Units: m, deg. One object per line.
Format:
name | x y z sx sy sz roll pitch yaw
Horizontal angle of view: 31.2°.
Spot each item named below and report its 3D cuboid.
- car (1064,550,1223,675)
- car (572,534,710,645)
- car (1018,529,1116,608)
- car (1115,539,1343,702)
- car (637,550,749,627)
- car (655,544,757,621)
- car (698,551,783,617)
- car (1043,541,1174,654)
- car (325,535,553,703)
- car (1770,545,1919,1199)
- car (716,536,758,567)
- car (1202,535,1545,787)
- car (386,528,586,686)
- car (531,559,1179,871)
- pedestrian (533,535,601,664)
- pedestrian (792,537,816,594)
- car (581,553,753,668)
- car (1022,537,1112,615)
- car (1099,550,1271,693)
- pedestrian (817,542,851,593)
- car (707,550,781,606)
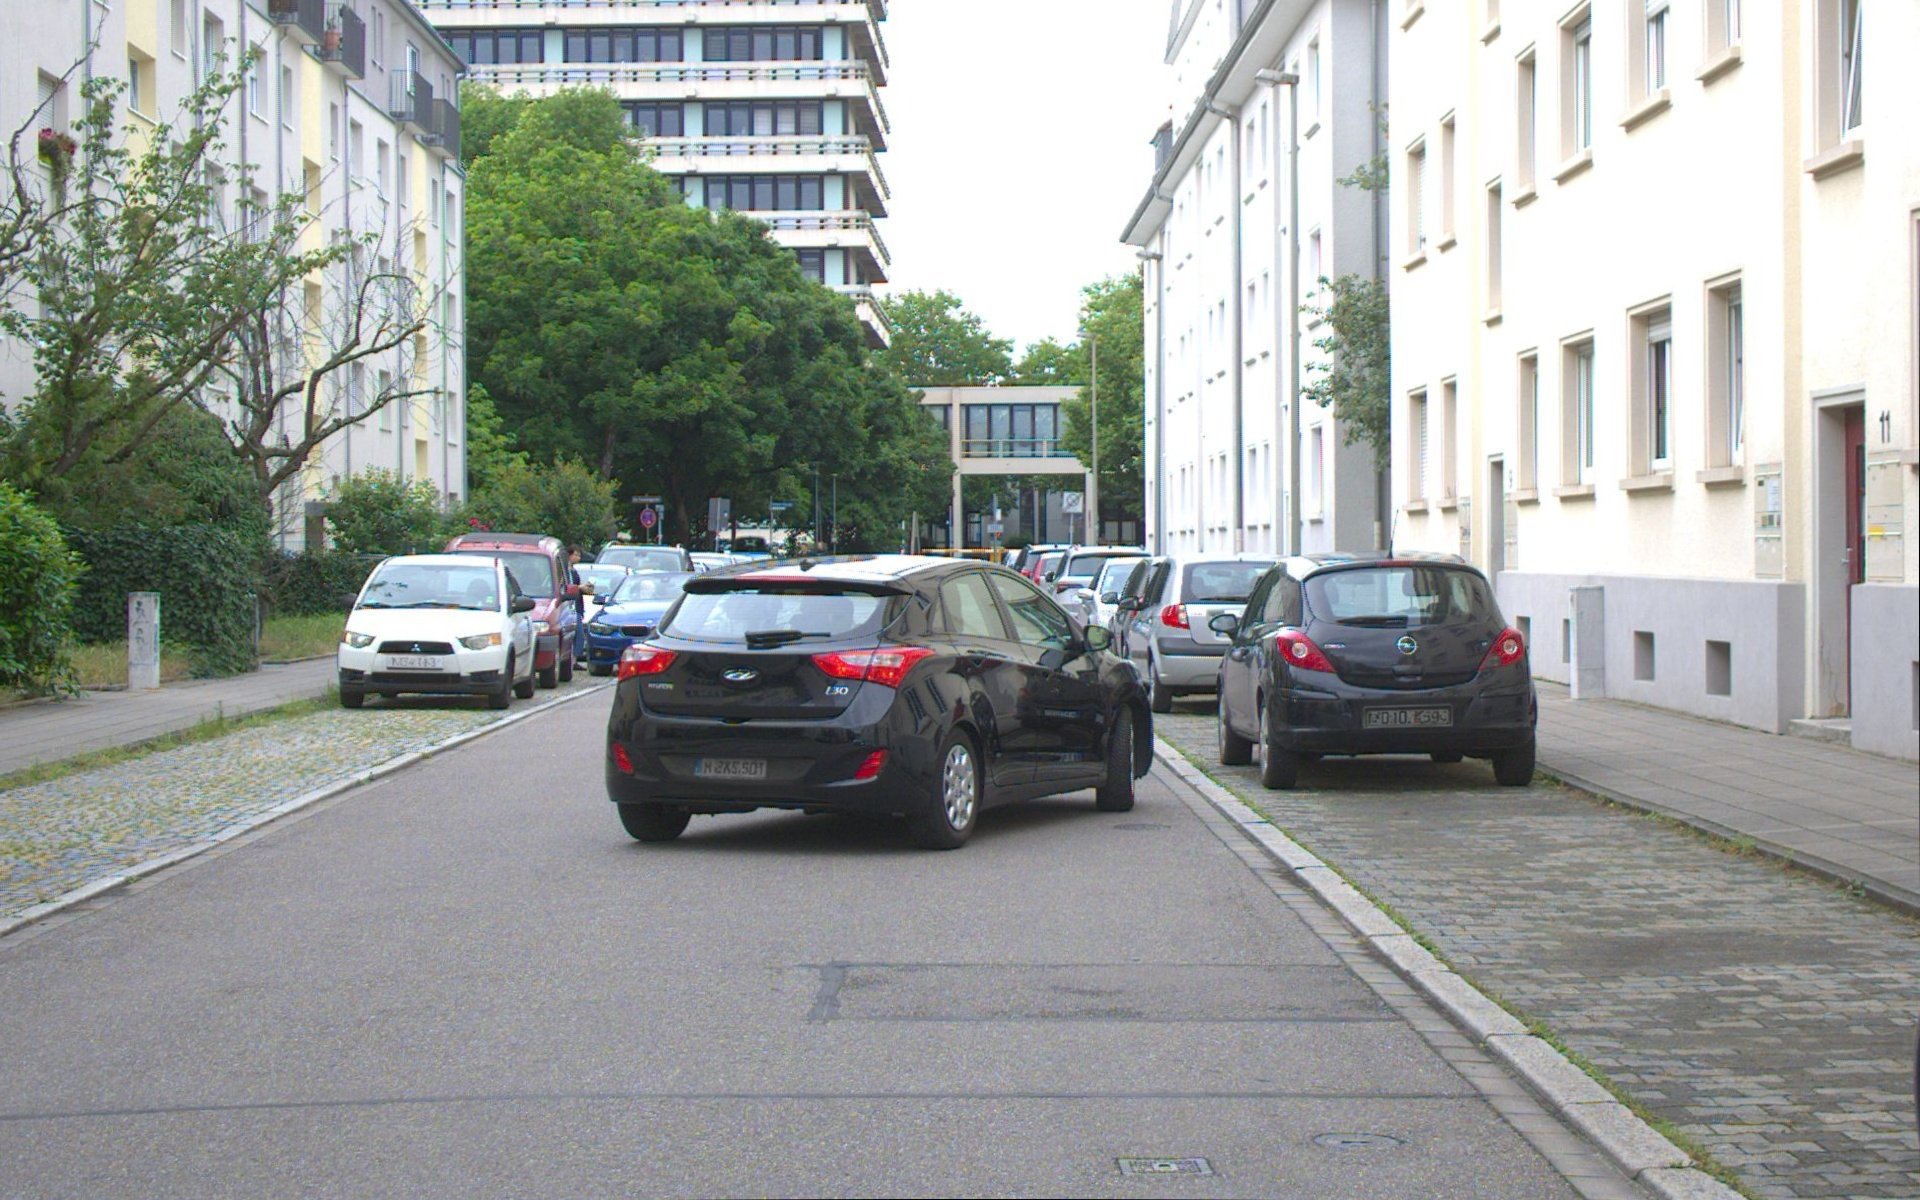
car | 2.253 0.117 43.120 1.725 1.471 4.505 1 1 0
car | -5.344 -0.207 58.148 1.895 1.734 4.475 2 1 -1
car | 2.095 -0.638 68.398 1.820 1.498 4.091 -1 1 0
car | 2.515 0.155 32.980 1.848 1.445 3.833 -1 1 0
car | -5.371 -0.261 69.619 1.895 1.447 4.521 2 1 -1
car | -5.573 -0.407 75.789 1.895 1.593 4.521 2 1 -1
car | -5.339 -0.417 84.118 1.993 1.536 4.001 1 1 -3
car | 2.220 -0.073 52.276 1.820 1.636 4.091 1 1 0
car | -5.244 0.159 35.026 1.720 1.564 3.870 2 1 -1
car | 2.772 0.656 5.815 1.725 1.512 4.061 0 1 -2
car | -10.011 -2.191 154.627 1.665 1.328 3.396 0 1 0
car | 2.634 0.334 22.756 1.725 1.512 4.061 0 1 -1
car | -5.579 0.045 40.943 1.956 1.764 4.362 1 1 -3
car | -0.409 0.514 18.318 1.905 1.428 4.228 0 1 22
pedestrian | -5.266 -0.011 46.097 0.740 1.696 0.796 -1 1 -18
pedestrian | -5.060 -1.121 111.651 0.714 1.825 0.797 0 1 2
car | -3.871 0.107 46.072 1.845 1.446 4.501 0 1 1
car | 2.259 -0.535 73.261 1.820 1.597 4.091 0 1 0
car | 2.447 0.198 38.107 1.603 1.471 3.869 1 1 0
pedestrian | -4.089 -1.050 111.583 0.972 1.648 0.980 0 1 4
car | -6.040 -0.633 96.417 1.993 1.536 4.001 1 1 -3
